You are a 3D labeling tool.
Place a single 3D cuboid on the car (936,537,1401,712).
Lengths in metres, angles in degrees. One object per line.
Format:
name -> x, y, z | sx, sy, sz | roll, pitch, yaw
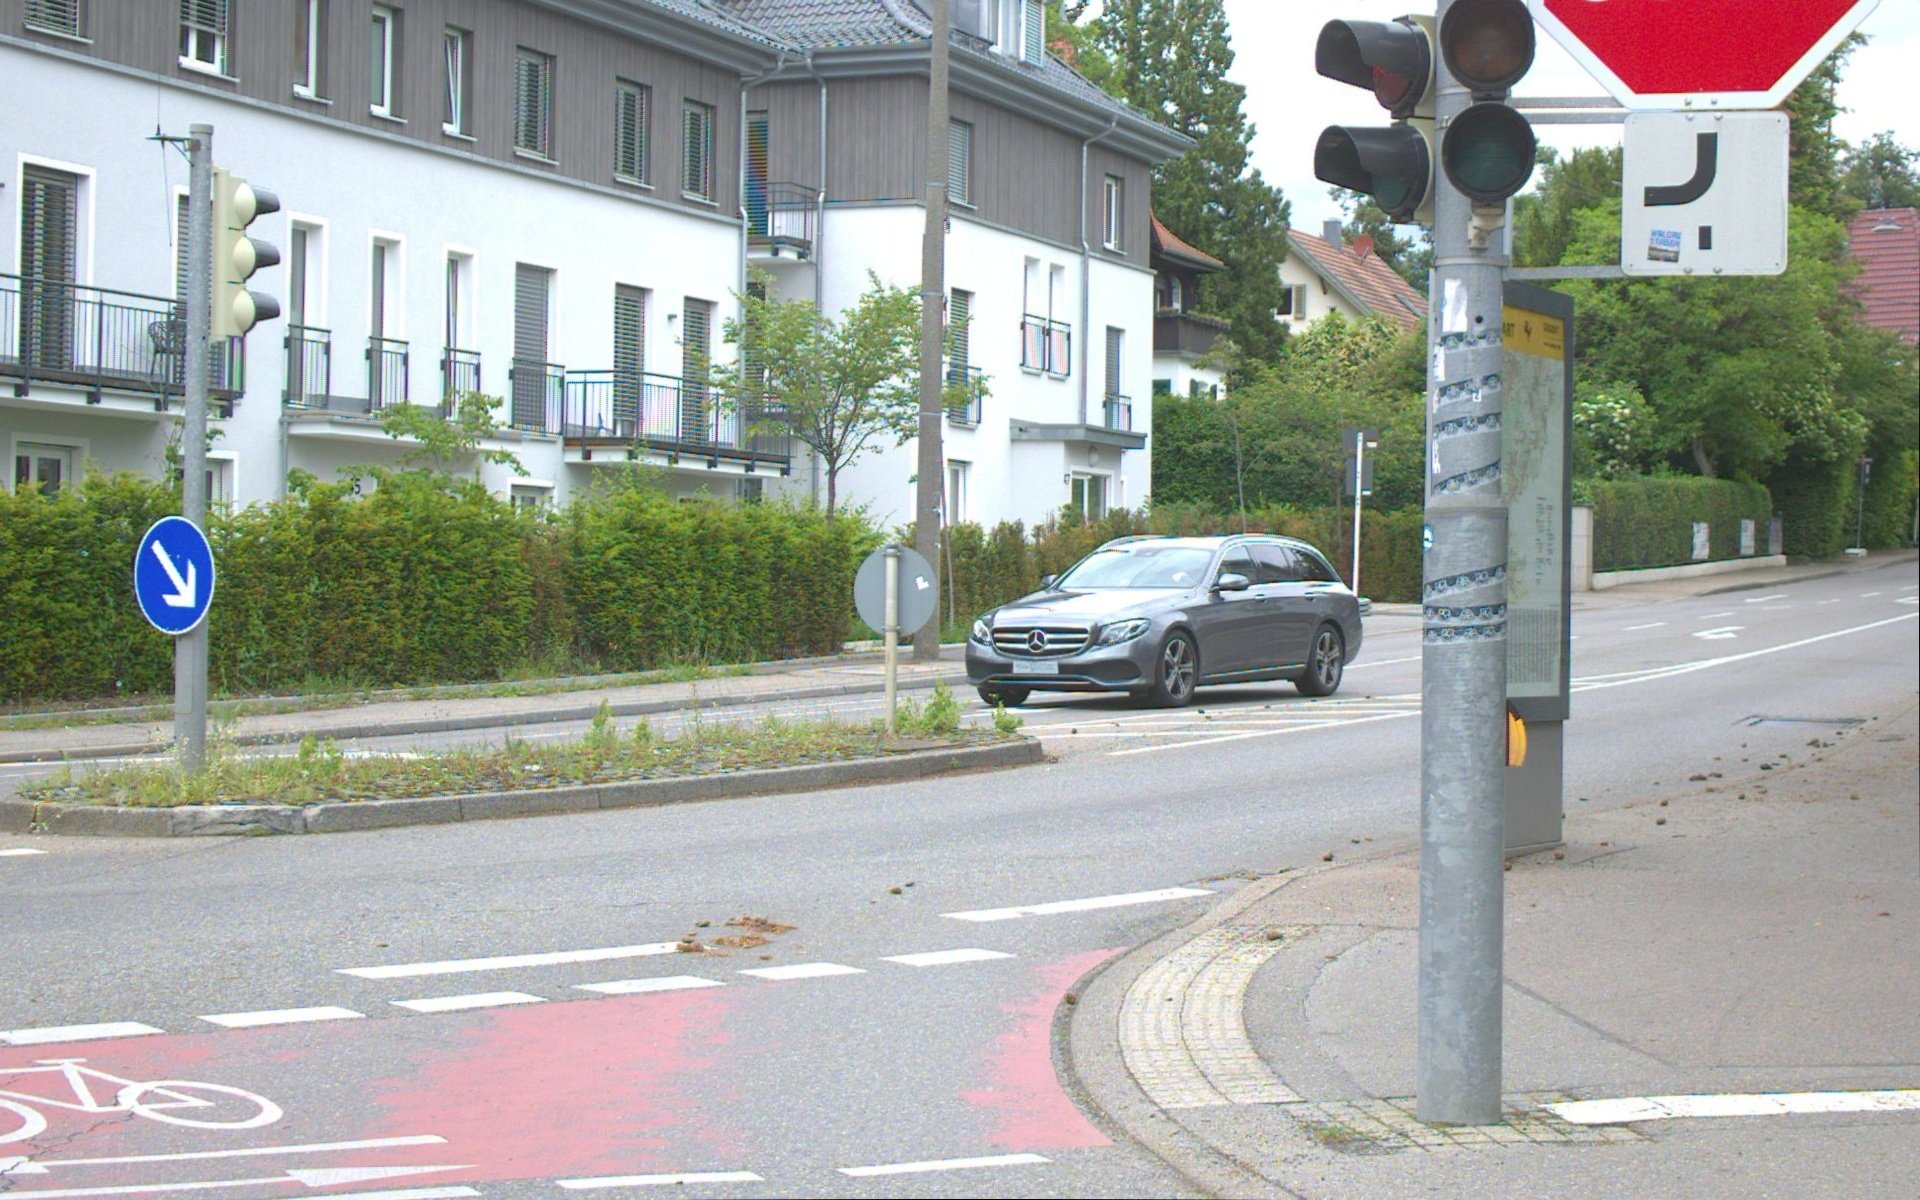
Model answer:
car -> 1.935, 0.152, 30.411 | 1.942, 1.399, 4.733 | 1, 2, 34
